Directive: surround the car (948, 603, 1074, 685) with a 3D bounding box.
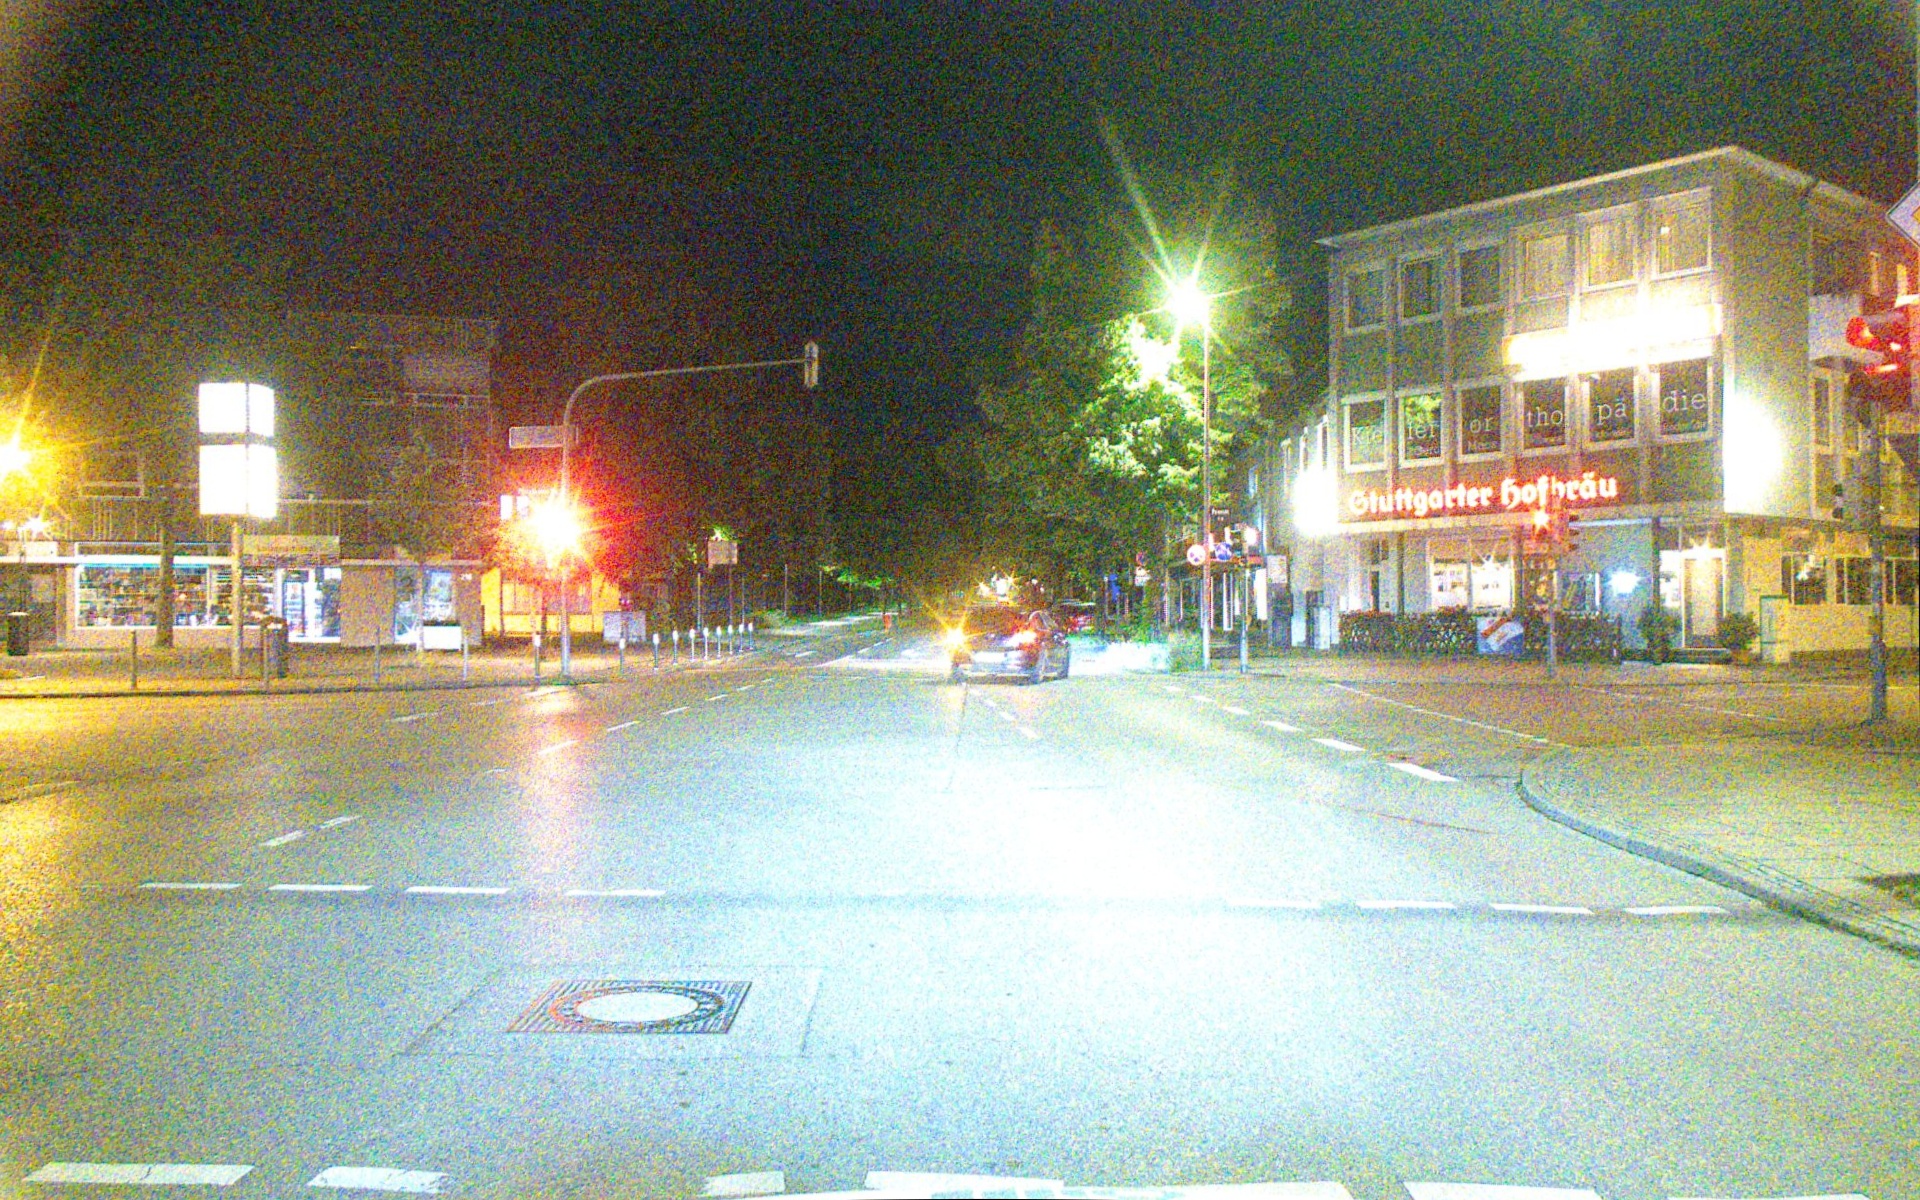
[{"bbox_3d":[1.098,0.836,33.066,1.833,1.479,4.320,1,0,11],"label":"car"}]

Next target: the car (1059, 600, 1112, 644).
[{"bbox_3d":[4.793,0.828,63.523,1.837,1.643,4.001,0,0,2],"label":"car"}]

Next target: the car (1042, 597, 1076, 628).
[{"bbox_3d":[5.663,0.690,94.591,1.837,1.713,4.001,0,0,2],"label":"car"}]

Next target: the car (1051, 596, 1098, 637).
[{"bbox_3d":[4.732,0.680,68.855,1.837,1.643,4.001,0,0,2],"label":"car"}]

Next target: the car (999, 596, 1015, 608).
[{"bbox_3d":[6.661,0.263,235.439,2.181,1.680,4.000,0,0,1],"label":"car"}]

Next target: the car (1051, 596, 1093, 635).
[{"bbox_3d":[5.156,0.709,76.532,1.837,1.759,4.001,0,0,2],"label":"car"}]
